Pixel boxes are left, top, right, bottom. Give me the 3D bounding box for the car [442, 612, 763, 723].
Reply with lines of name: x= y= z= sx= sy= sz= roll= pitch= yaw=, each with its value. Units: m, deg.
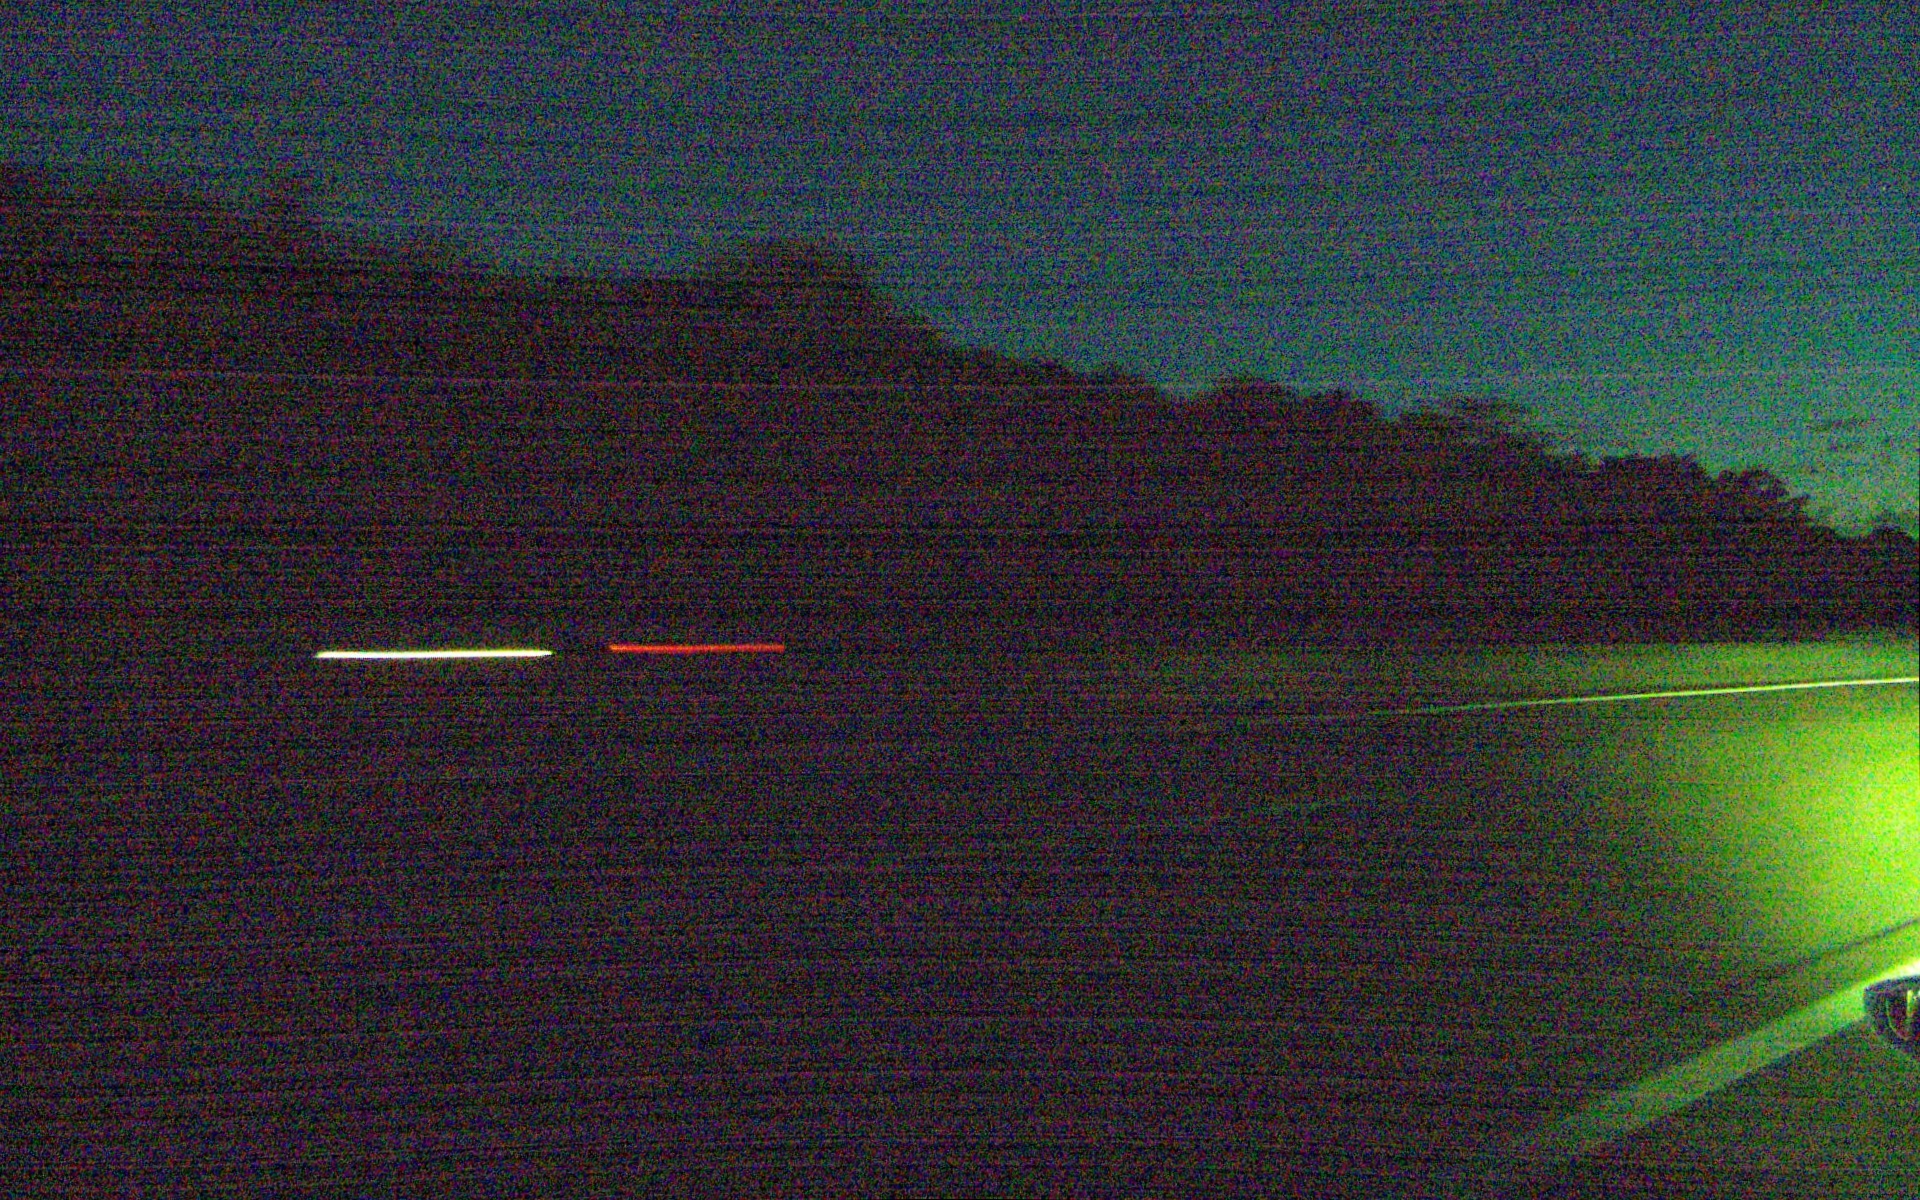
car: x=-6.254 y=1.119 z=17.747 sx=5.051 sy=1.673 sz=1.999 roll=2 pitch=0 yaw=-31
